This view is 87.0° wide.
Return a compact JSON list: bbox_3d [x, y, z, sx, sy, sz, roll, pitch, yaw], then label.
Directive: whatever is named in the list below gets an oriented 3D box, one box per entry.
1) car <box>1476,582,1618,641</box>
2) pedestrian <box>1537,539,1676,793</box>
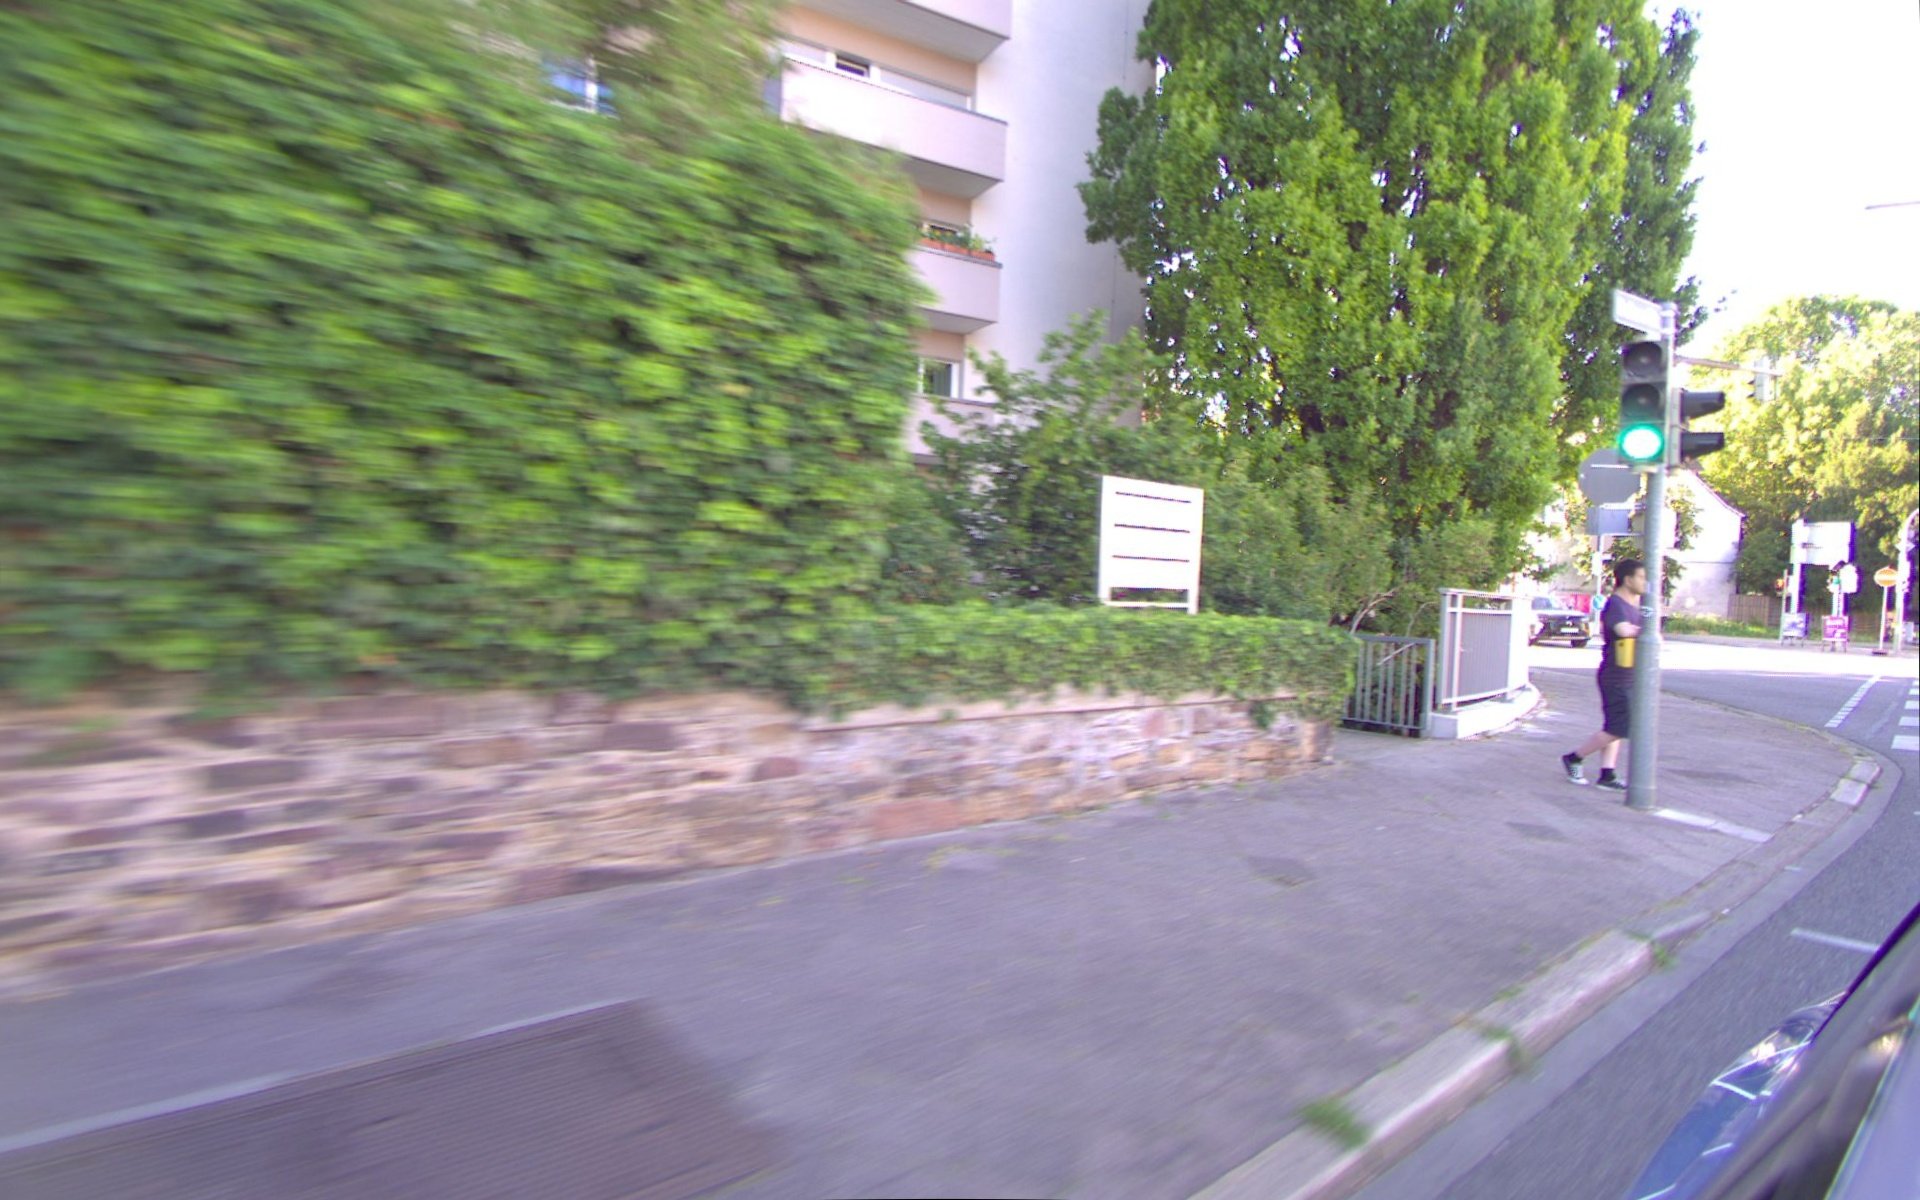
[{"bbox_3d":[18.582,0.302,32.327,1.963,1.691,4.661,-1,1,3],"label":"car"},{"bbox_3d":[4.622,0.437,7.239,0.601,1.714,0.604,2,2,-40],"label":"pedestrian"}]
